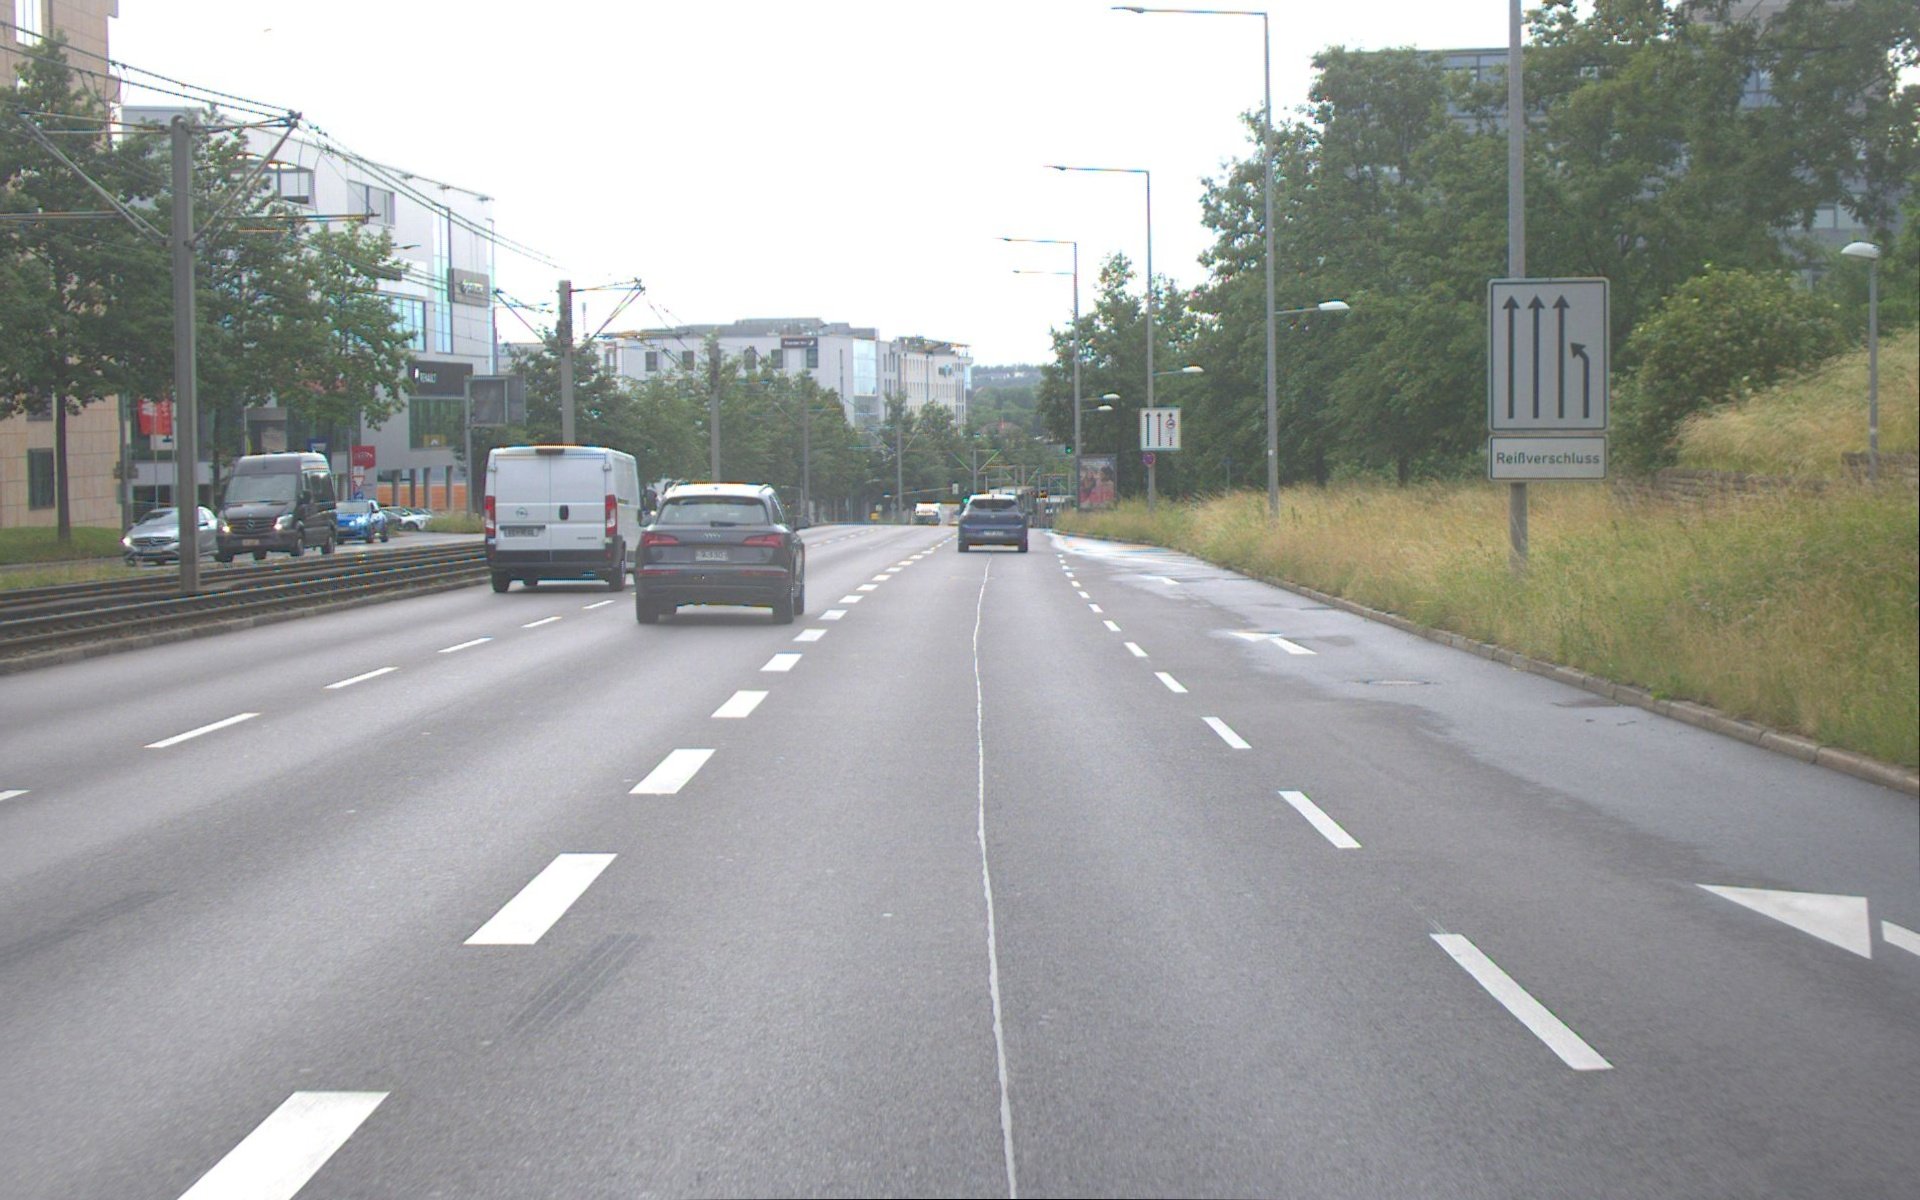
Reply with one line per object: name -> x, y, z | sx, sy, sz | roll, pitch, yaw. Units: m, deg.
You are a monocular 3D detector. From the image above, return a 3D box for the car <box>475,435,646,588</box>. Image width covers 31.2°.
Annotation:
car -> -6.253, -1.409, 54.292 | 2.267, 2.277, 4.760 | 1, 2, -2

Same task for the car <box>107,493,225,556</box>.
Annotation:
car -> -19.997, -1.928, 86.760 | 1.760, 1.528, 4.817 | 1, 2, 1

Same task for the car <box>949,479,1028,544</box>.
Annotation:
car -> 0.711, -2.241, 87.480 | 1.789, 1.585, 4.001 | -1, 1, -2

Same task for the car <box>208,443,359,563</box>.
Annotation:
car -> -16.481, -2.367, 84.046 | 2.383, 2.808, 5.611 | 1, 1, 2

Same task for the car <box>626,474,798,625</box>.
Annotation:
car -> -2.945, -0.626, 41.542 | 1.922, 1.704, 4.098 | 1, 1, -2
